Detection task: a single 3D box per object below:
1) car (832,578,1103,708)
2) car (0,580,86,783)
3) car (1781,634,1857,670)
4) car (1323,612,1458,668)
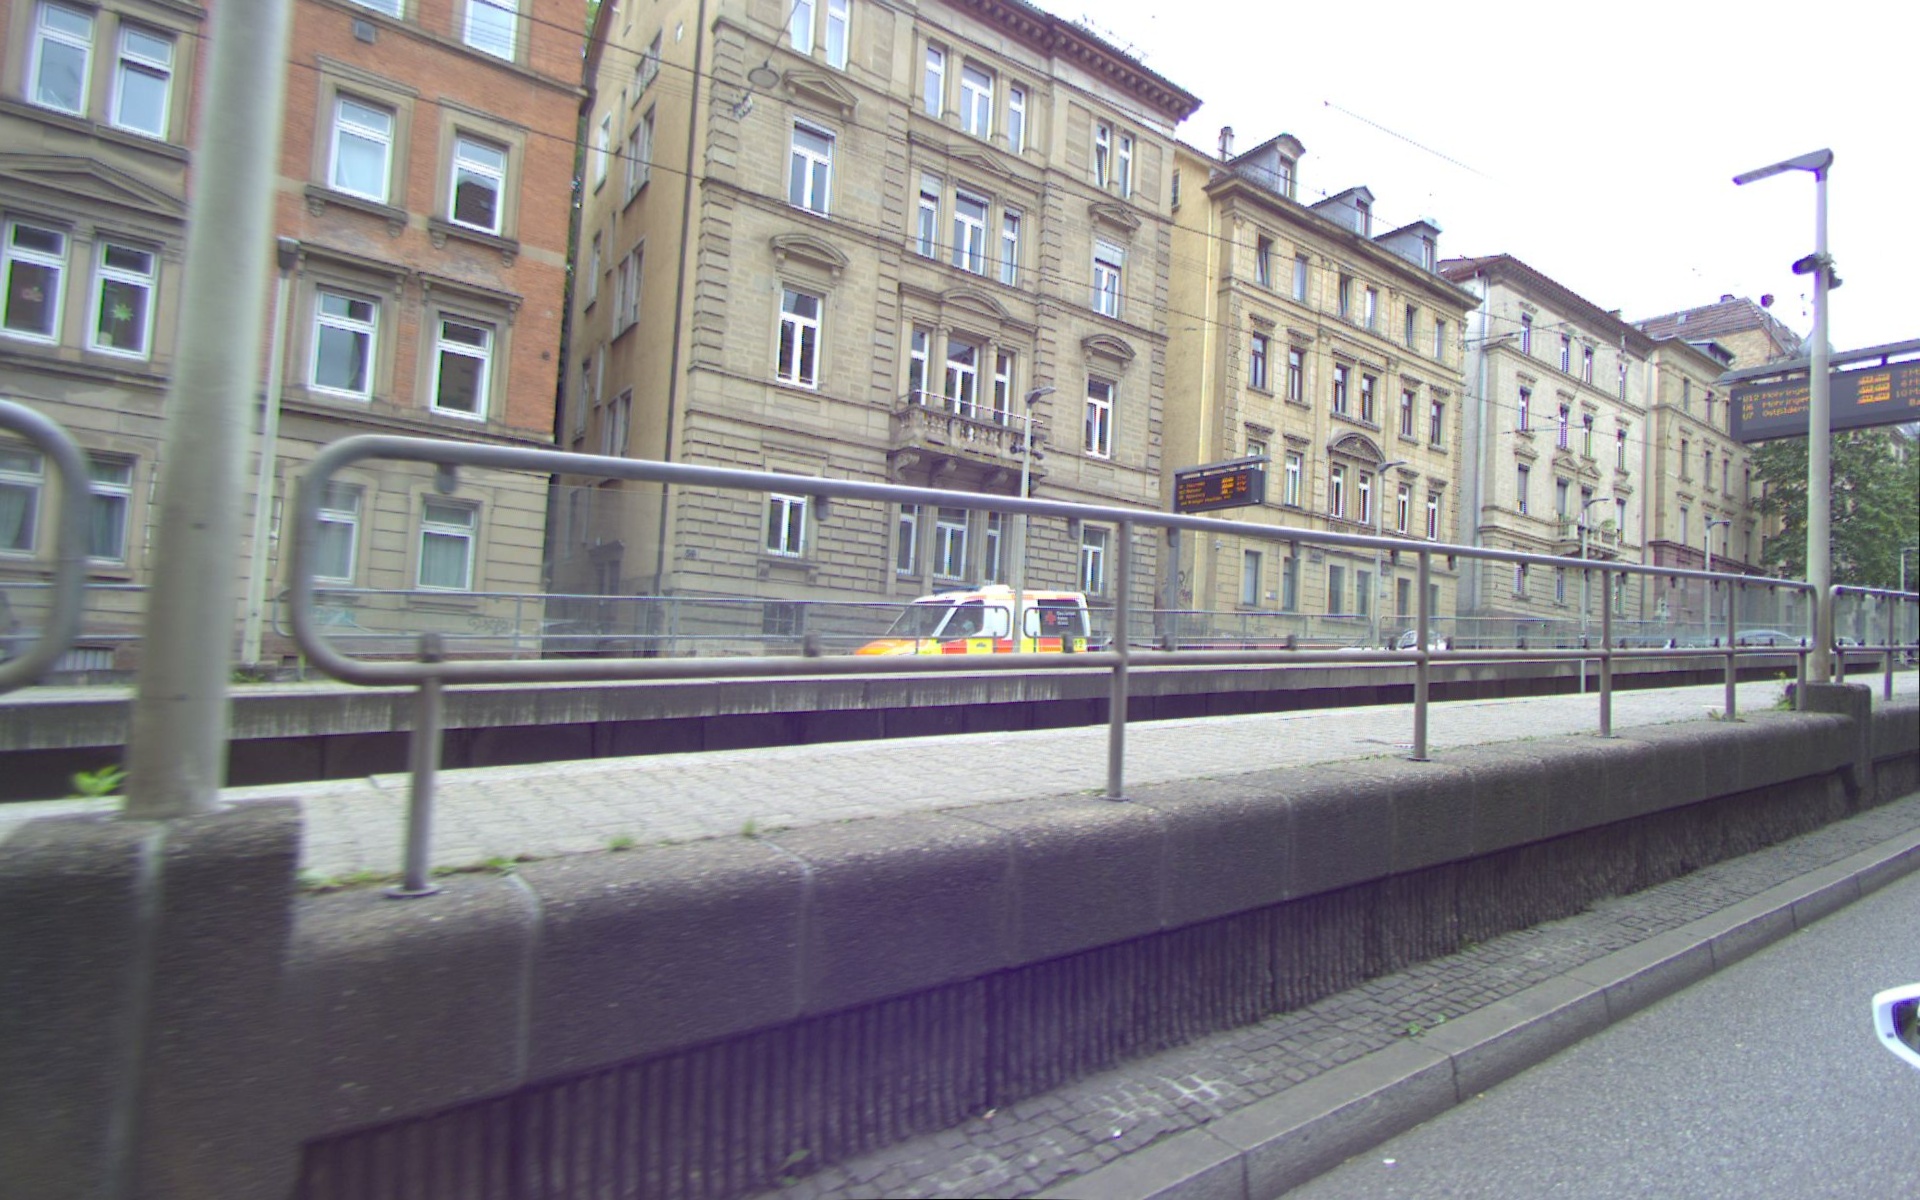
[{"bbox_3d":[0.251,0.853,20.445,5.401,2.335,1.980,1,-2,-35],"label":"car"},{"bbox_3d":[-11.088,0.753,9.259,4.373,1.920,1.980,2,-2,-37],"label":"car"},{"bbox_3d":[42.287,2.533,49.440,3.961,1.702,1.923,1,-3,-36],"label":"car"},{"bbox_3d":[12.675,1.145,29.477,4.221,1.490,1.755,1,0,-37],"label":"car"}]
